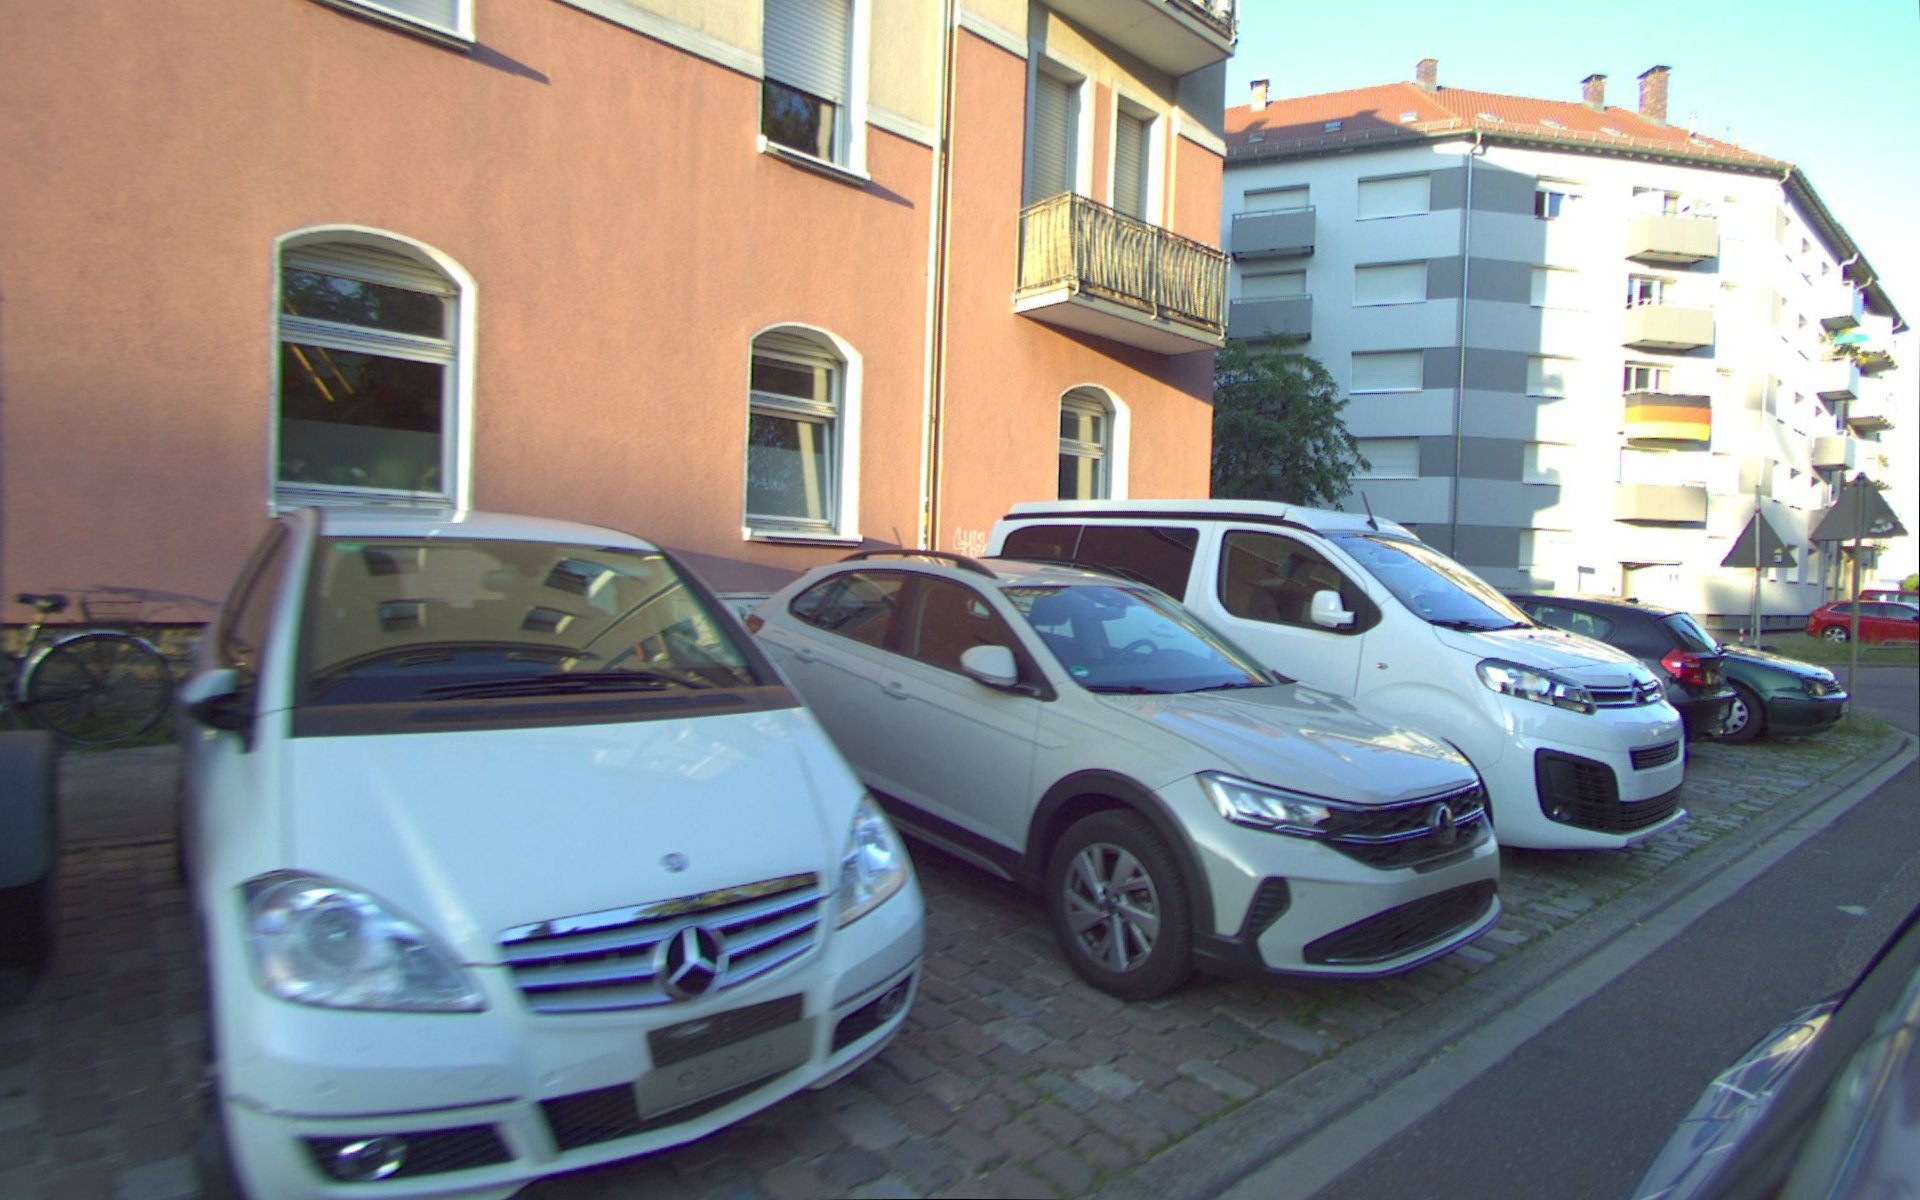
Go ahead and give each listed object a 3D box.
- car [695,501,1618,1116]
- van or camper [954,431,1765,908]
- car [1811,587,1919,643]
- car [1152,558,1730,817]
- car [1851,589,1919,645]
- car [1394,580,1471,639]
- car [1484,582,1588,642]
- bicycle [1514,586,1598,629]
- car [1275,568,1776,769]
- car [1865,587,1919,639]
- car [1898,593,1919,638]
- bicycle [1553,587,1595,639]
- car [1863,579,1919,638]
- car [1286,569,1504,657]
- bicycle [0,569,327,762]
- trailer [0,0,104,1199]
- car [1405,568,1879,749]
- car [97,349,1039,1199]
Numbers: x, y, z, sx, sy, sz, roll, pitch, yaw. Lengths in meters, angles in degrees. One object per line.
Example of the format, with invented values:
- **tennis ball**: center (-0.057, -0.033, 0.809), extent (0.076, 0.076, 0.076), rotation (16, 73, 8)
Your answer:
- **car**: center (0.556, 0.481, 4.878), extent (1.966, 1.660, 3.994), rotation (0, 2, -41)
- **van or camper**: center (2.268, 0.225, 7.027), extent (2.004, 2.122, 4.846), rotation (1, 2, -39)
- **car**: center (28.453, 0.476, 30.237), extent (1.888, 1.560, 4.312), rotation (1, 2, -38)
- **car**: center (3.861, 0.499, 8.638), extent (1.965, 1.638, 3.994), rotation (0, 2, -41)
- **car**: center (30.597, 0.553, 31.570), extent (1.966, 1.682, 3.994), rotation (1, 2, -42)
- **car**: center (13.502, 0.210, 29.060), extent (1.827, 1.504, 3.968), rotation (2, 2, 24)
- **car**: center (15.605, 0.276, 27.619), extent (1.978, 1.438, 3.969), rotation (2, 1, 23)
- **bicycle**: center (18.989, 0.233, 32.265), extent (2.403, 1.289, 0.699), rotation (1, 1, -10)
- **car**: center (5.516, 0.507, 10.248), extent (1.965, 1.549, 3.994), rotation (0, 2, -41)
- **car**: center (32.422, 0.471, 33.125), extent (1.754, 1.649, 3.993), rotation (1, 2, -42)
- **car**: center (38.445, 0.646, 38.330), extent (1.964, 1.705, 3.998), rotation (1, 2, -38)
- **bicycle**: center (17.537, 0.339, 28.933), extent (0.510, 1.400, 2.488), rotation (1, 1, 20)
- **car**: center (34.578, 0.359, 35.003), extent (1.964, 2.025, 4.685), rotation (1, 2, -39)
- **car**: center (8.981, 0.217, 21.003), extent (3.963, 1.592, 1.812), rotation (2, 1, 28)
- **bicycle**: center (-5.066, 0.361, 6.272), extent (1.872, 1.074, 0.516), rotation (0, 1, -42)
- **trailer**: center (-3.255, 0.033, 2.251), extent (1.908, 2.365, 3.573), rotation (0, 4, -43)
- **car**: center (7.486, 0.489, 11.421), extent (1.823, 1.605, 4.108), rotation (0, 2, -43)
- **car**: center (-1.829, 0.404, 3.700), extent (1.966, 1.749, 3.994), rotation (-1, 3, -41)
